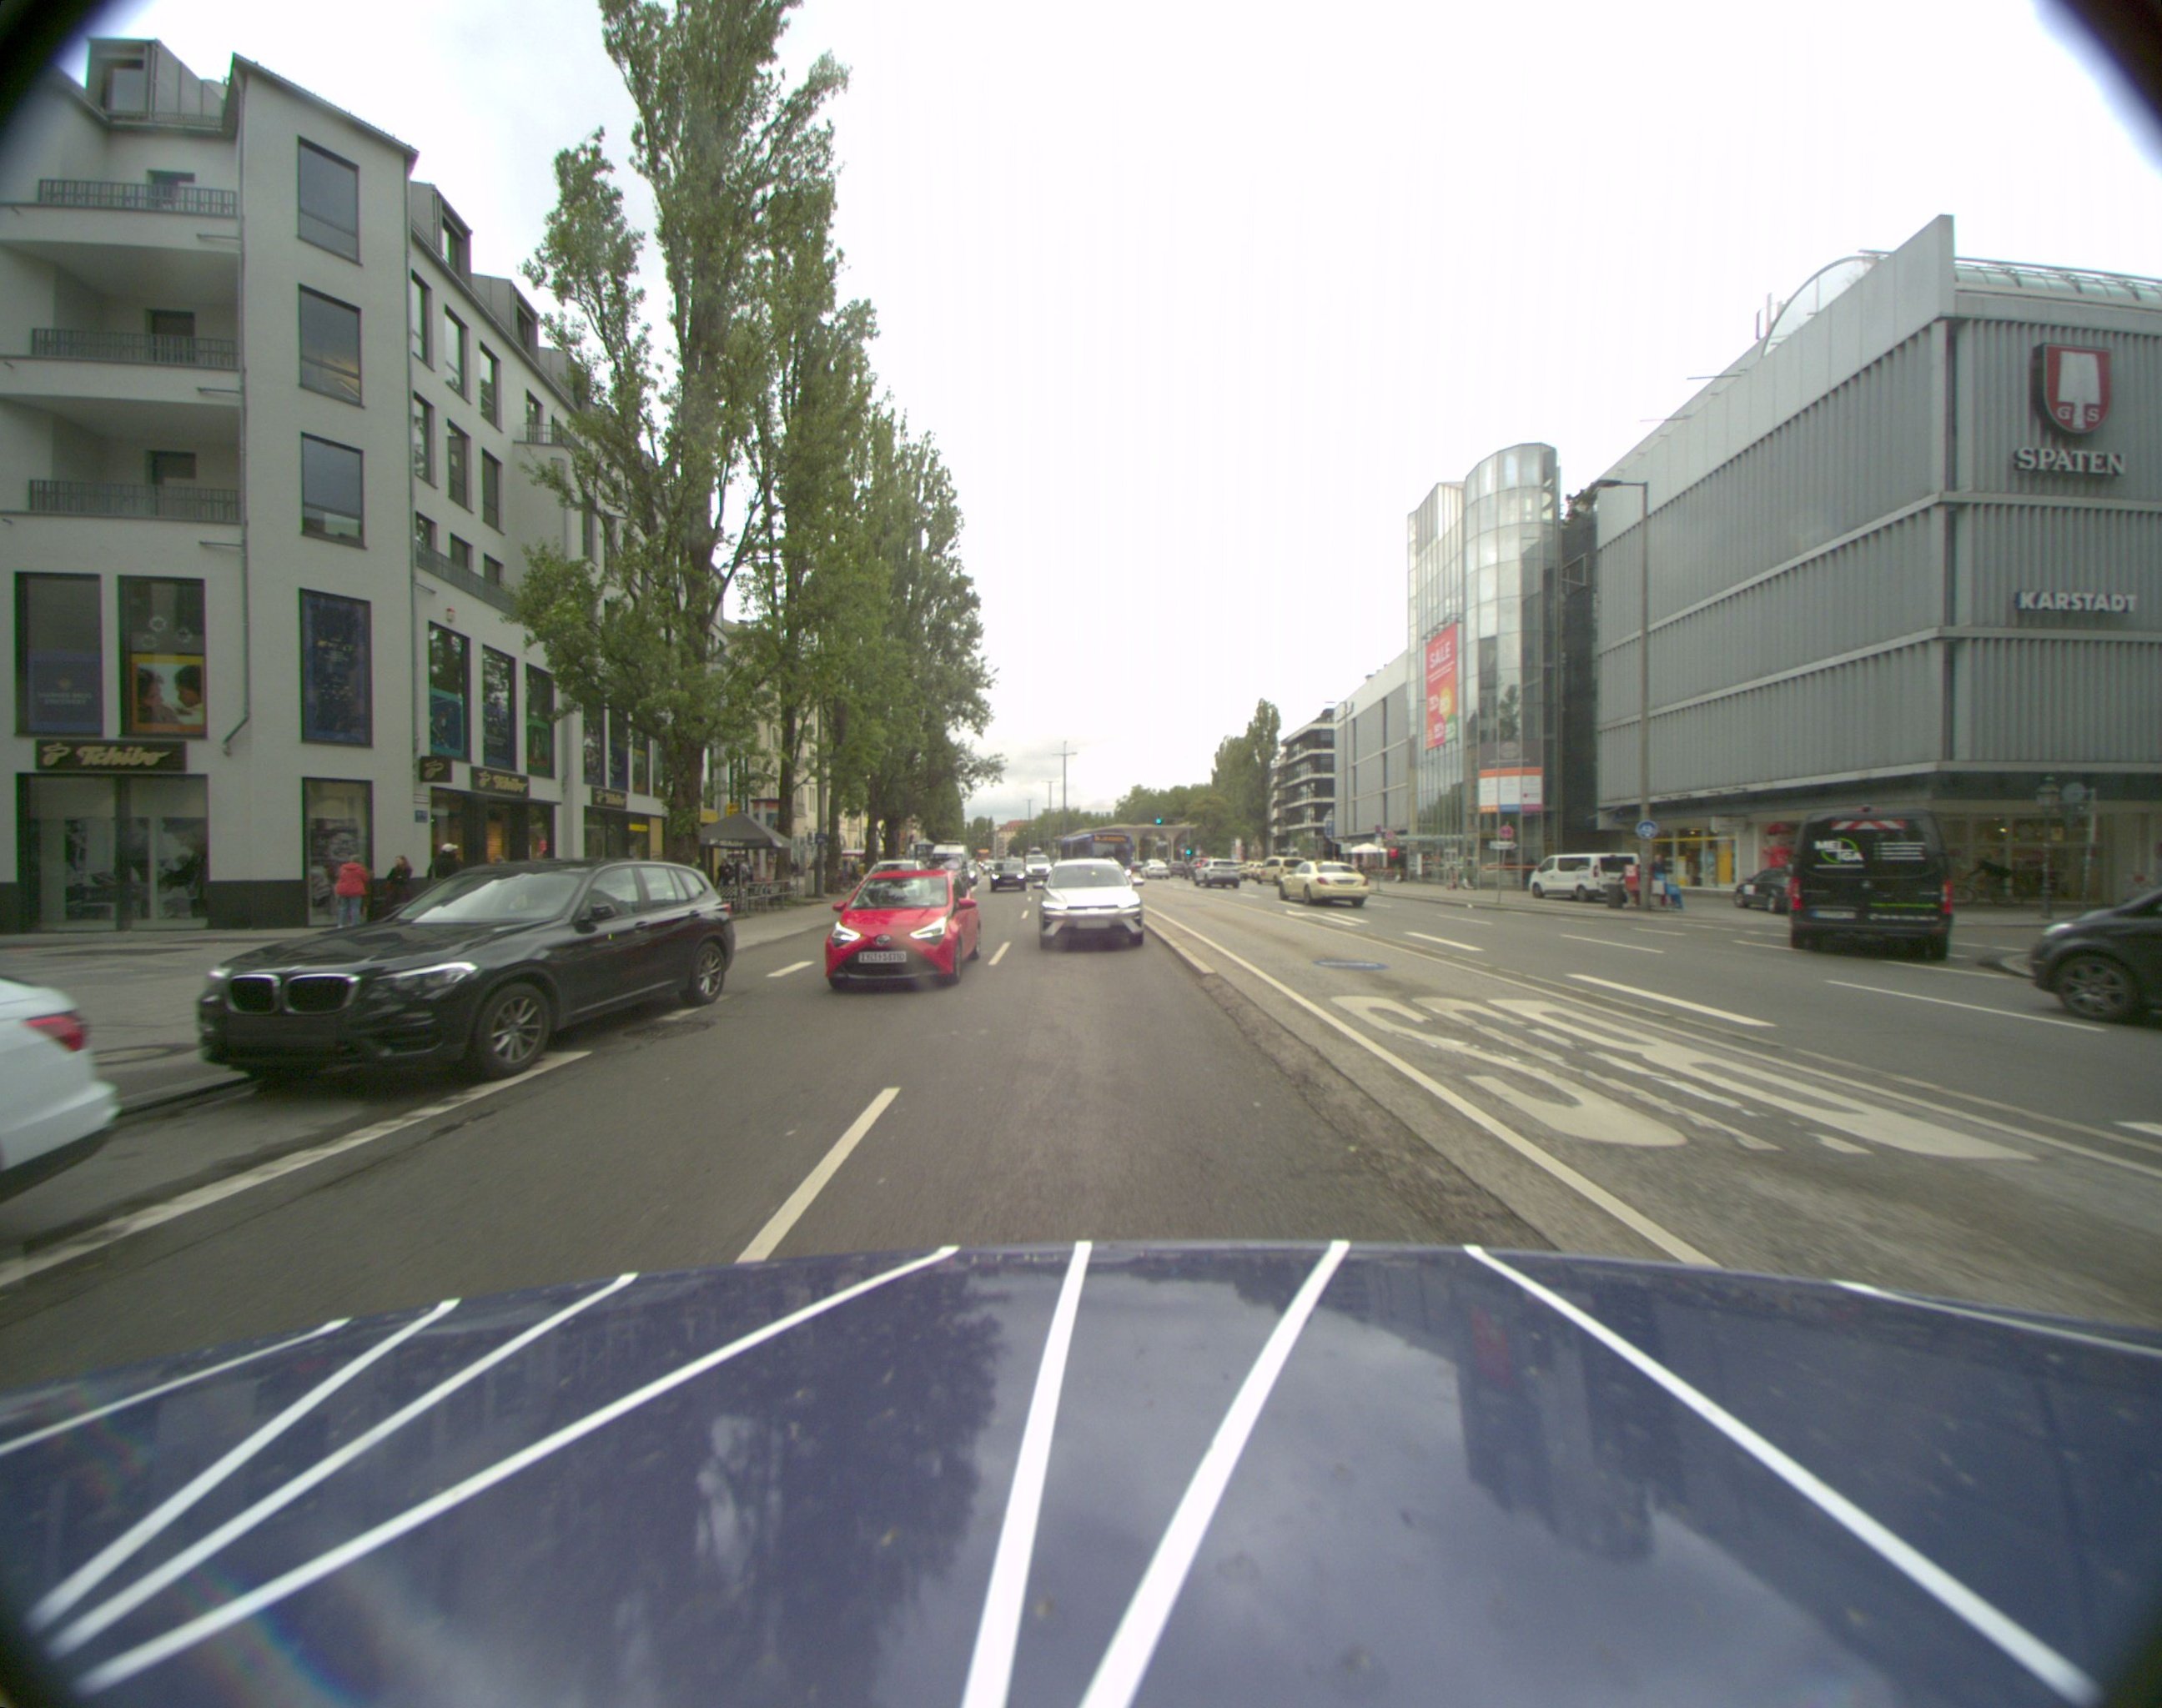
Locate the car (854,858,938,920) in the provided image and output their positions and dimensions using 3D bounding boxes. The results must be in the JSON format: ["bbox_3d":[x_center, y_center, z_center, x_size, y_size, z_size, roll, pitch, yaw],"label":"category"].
[{"bbox_3d":[-5.572,0.997,23.423,1.732,1.676,4.407,-1,0,-4],"label":"car"}]

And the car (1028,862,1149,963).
[{"bbox_3d":[0.022,0.960,14.190,1.897,1.483,3.998,-2,1,-3],"label":"car"}]

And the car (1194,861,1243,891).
[{"bbox_3d":[7.758,1.223,43.160,1.914,1.593,4.354,0,0,-1],"label":"car"}]

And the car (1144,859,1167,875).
[{"bbox_3d":[7.731,1.355,79.464,1.958,1.580,4.000,0,0,-1],"label":"car"}]

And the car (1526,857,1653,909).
[{"bbox_3d":[21.017,1.134,31.723,1.998,2.002,5.113,0,0,2],"label":"car"}]

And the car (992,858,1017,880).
[{"bbox_3d":[-6.637,1.222,65.450,2.000,1.740,3.997,-2,1,-7],"label":"car"}]

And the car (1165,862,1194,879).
[{"bbox_3d":[8.934,1.499,69.218,1.789,1.457,3.999,1,0,-4],"label":"car"}]

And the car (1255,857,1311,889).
[{"bbox_3d":[13.460,1.196,50.998,1.999,2.002,5.319,1,0,-4],"label":"car"}]

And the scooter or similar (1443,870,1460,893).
[{"bbox_3d":[20.169,1.514,41.347,0.255,1.217,0.996,0,0,-14],"label":"scooter or similar"}]

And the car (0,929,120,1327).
[{"bbox_3d":[-5.118,1.056,0.891,1.815,1.491,4.806,1,0,2],"label":"car"}]

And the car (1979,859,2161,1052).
[{"bbox_3d":[11.275,0.997,5.947,1.998,1.852,5.714,2,0,5],"label":"car"}]

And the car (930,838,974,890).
[{"bbox_3d":[-7.182,0.511,42.840,1.999,2.726,5.551,-2,1,-6],"label":"car"}]

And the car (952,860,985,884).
[{"bbox_3d":[-7.325,1.161,49.884,1.730,1.445,4.146,-2,0,-3],"label":"car"}]

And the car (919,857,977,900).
[{"bbox_3d":[-5.993,1.054,34.736,1.934,1.794,4.778,-2,0,-3],"label":"car"}]

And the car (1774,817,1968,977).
[{"bbox_3d":[15.557,0.713,15.337,2.170,2.590,6.077,0,0,41],"label":"car"}]

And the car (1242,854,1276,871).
[{"bbox_3d":[16.896,0.803,72.342,1.912,1.557,3.998,0,0,-6],"label":"car"}]

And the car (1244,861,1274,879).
[{"bbox_3d":[15.737,1.400,67.309,1.756,1.527,4.000,0,0,1],"label":"car"}]

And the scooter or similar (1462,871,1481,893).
[{"bbox_3d":[21.186,1.516,41.257,0.255,1.166,0.995,0,0,-21],"label":"scooter or similar"}]

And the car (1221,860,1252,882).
[{"bbox_3d":[12.688,1.396,62.321,1.889,1.688,4.384,1,0,3],"label":"car"}]

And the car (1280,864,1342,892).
[{"bbox_3d":[13.695,1.373,45.549,1.983,1.543,5.085,0,0,-2],"label":"car"}]

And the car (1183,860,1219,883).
[{"bbox_3d":[9.449,1.322,60.152,2.023,1.706,4.982,0,0,-1],"label":"car"}]

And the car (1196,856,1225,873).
[{"bbox_3d":[12.912,1.030,75.762,1.592,1.602,4.474,0,0,-8],"label":"car"}]

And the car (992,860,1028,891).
[{"bbox_3d":[-3.736,1.059,39.403,1.741,1.461,4.048,-1,0,-7],"label":"car"}]

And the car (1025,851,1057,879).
[{"bbox_3d":[-2.914,0.741,54.717,2.000,1.889,4.232,-2,1,-7],"label":"car"}]

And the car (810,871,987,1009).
[{"bbox_3d":[-2.346,1.042,10.644,1.669,1.438,3.595,-2,1,-2],"label":"car"}]

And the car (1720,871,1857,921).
[{"bbox_3d":[23.184,1.305,25.137,1.923,1.430,4.515,0,0,24],"label":"car"}]

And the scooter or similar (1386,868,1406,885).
[{"bbox_3d":[21.733,1.540,52.405,0.368,1.133,1.378,0,0,-26],"label":"scooter or similar"}]

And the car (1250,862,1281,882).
[{"bbox_3d":[15.031,1.439,62.010,1.775,1.607,4.001,0,0,4],"label":"car"}]

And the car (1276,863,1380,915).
[{"bbox_3d":[8.629,1.148,27.109,1.998,1.579,5.195,2,0,0],"label":"car"}]

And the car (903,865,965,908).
[{"bbox_3d":[-5.588,1.179,29.349,1.776,1.425,4.569,-2,0,-5],"label":"car"}]

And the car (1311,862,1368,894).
[{"bbox_3d":[13.328,1.207,39.465,1.860,1.461,4.985,2,0,8],"label":"car"}]

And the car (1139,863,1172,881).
[{"bbox_3d":[6.169,1.503,63.237,1.805,1.386,4.688,0,0,-6],"label":"car"}]
